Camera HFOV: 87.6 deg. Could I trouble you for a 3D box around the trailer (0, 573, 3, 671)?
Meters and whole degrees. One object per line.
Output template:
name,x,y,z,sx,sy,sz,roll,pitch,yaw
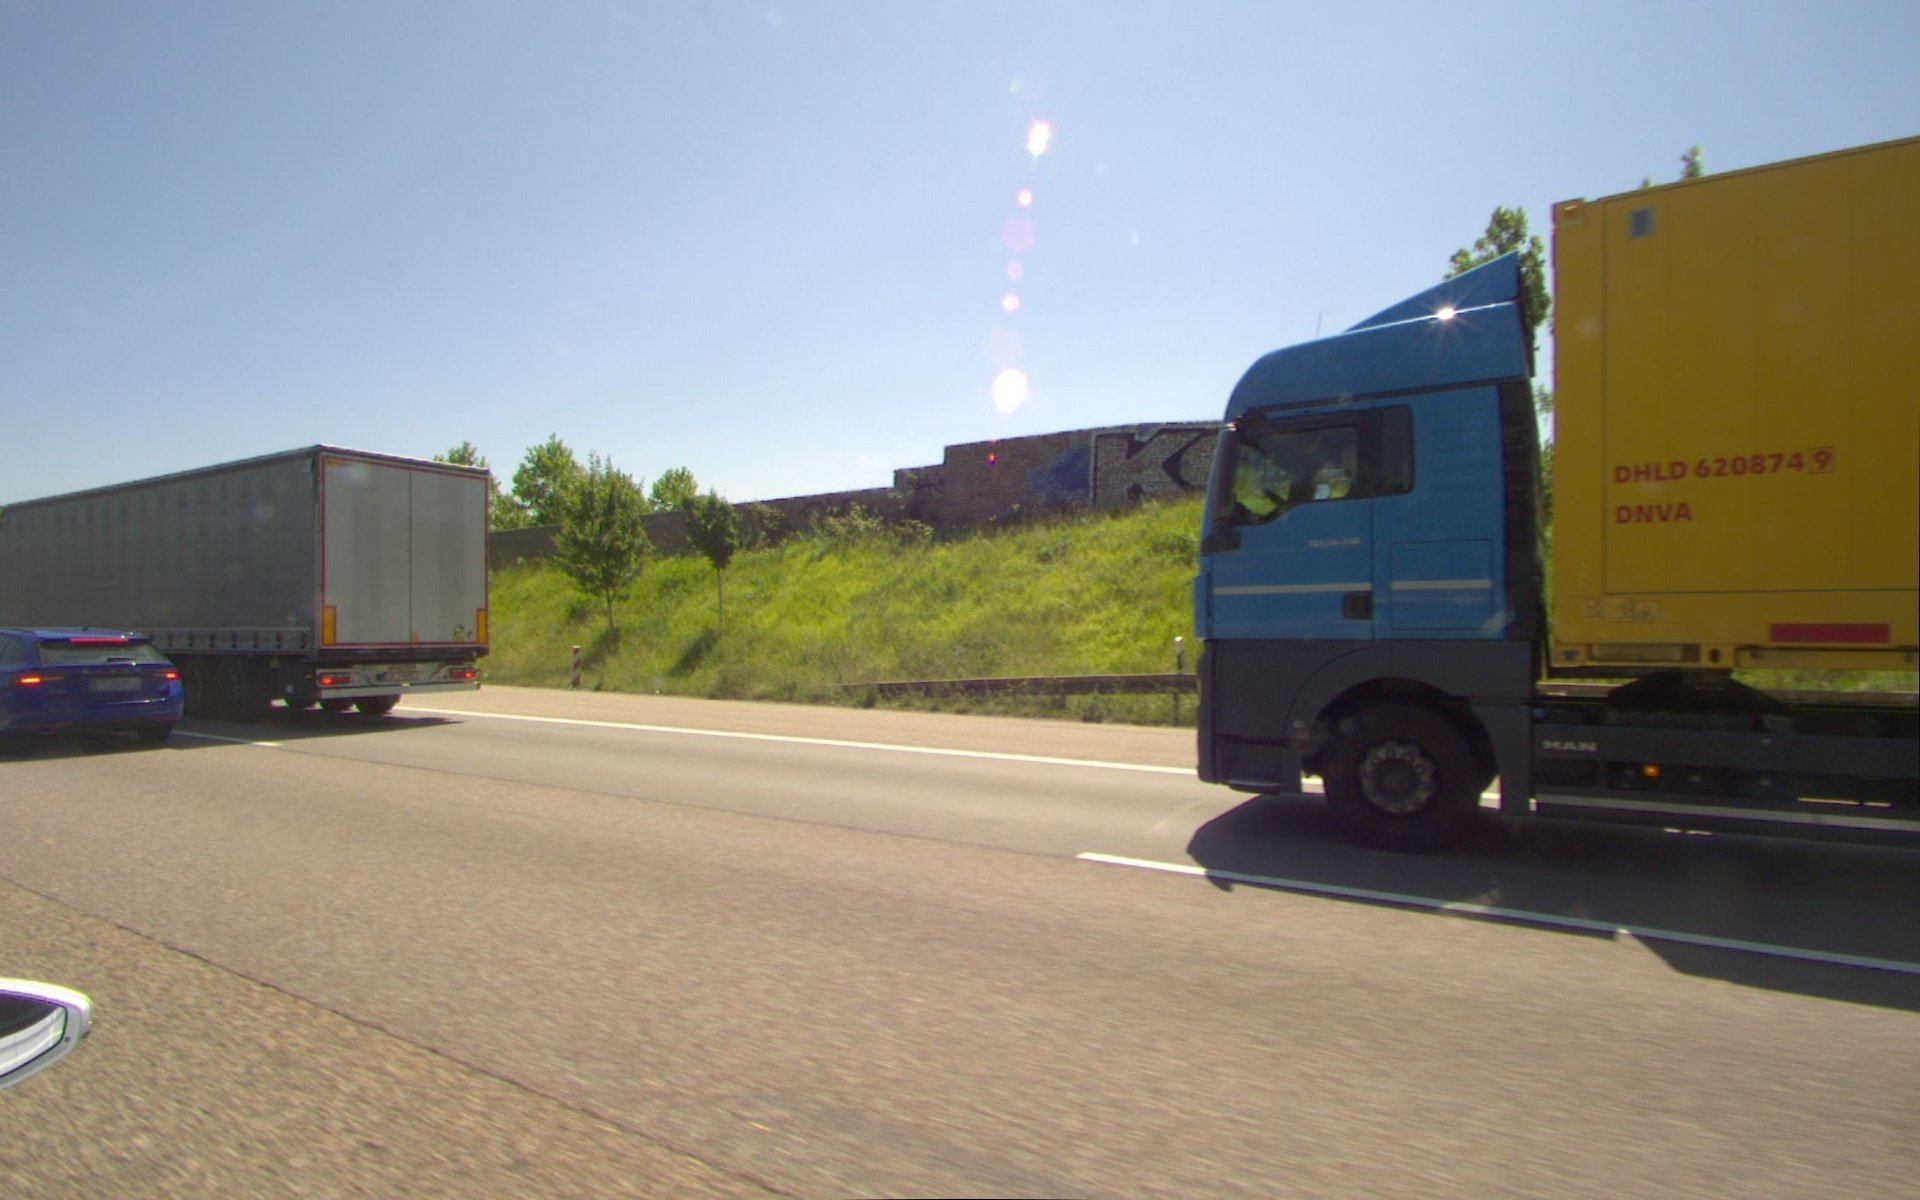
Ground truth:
trailer,-32.770,0.594,30.839,8.985,2.873,2.739,0,-1,33

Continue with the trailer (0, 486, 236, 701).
trailer,-19.033,-0.090,22.047,6.319,4.097,2.919,0,-1,33

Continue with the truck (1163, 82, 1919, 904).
truck,6.336,-0.510,5.743,9.811,4.162,2.760,0,-1,33

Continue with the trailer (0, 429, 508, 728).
trailer,-13.798,-0.205,18.673,13.557,4.102,2.956,-1,-1,33

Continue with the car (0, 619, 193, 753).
car,-11.720,1.007,12.790,4.366,1.459,1.703,-1,-2,33
